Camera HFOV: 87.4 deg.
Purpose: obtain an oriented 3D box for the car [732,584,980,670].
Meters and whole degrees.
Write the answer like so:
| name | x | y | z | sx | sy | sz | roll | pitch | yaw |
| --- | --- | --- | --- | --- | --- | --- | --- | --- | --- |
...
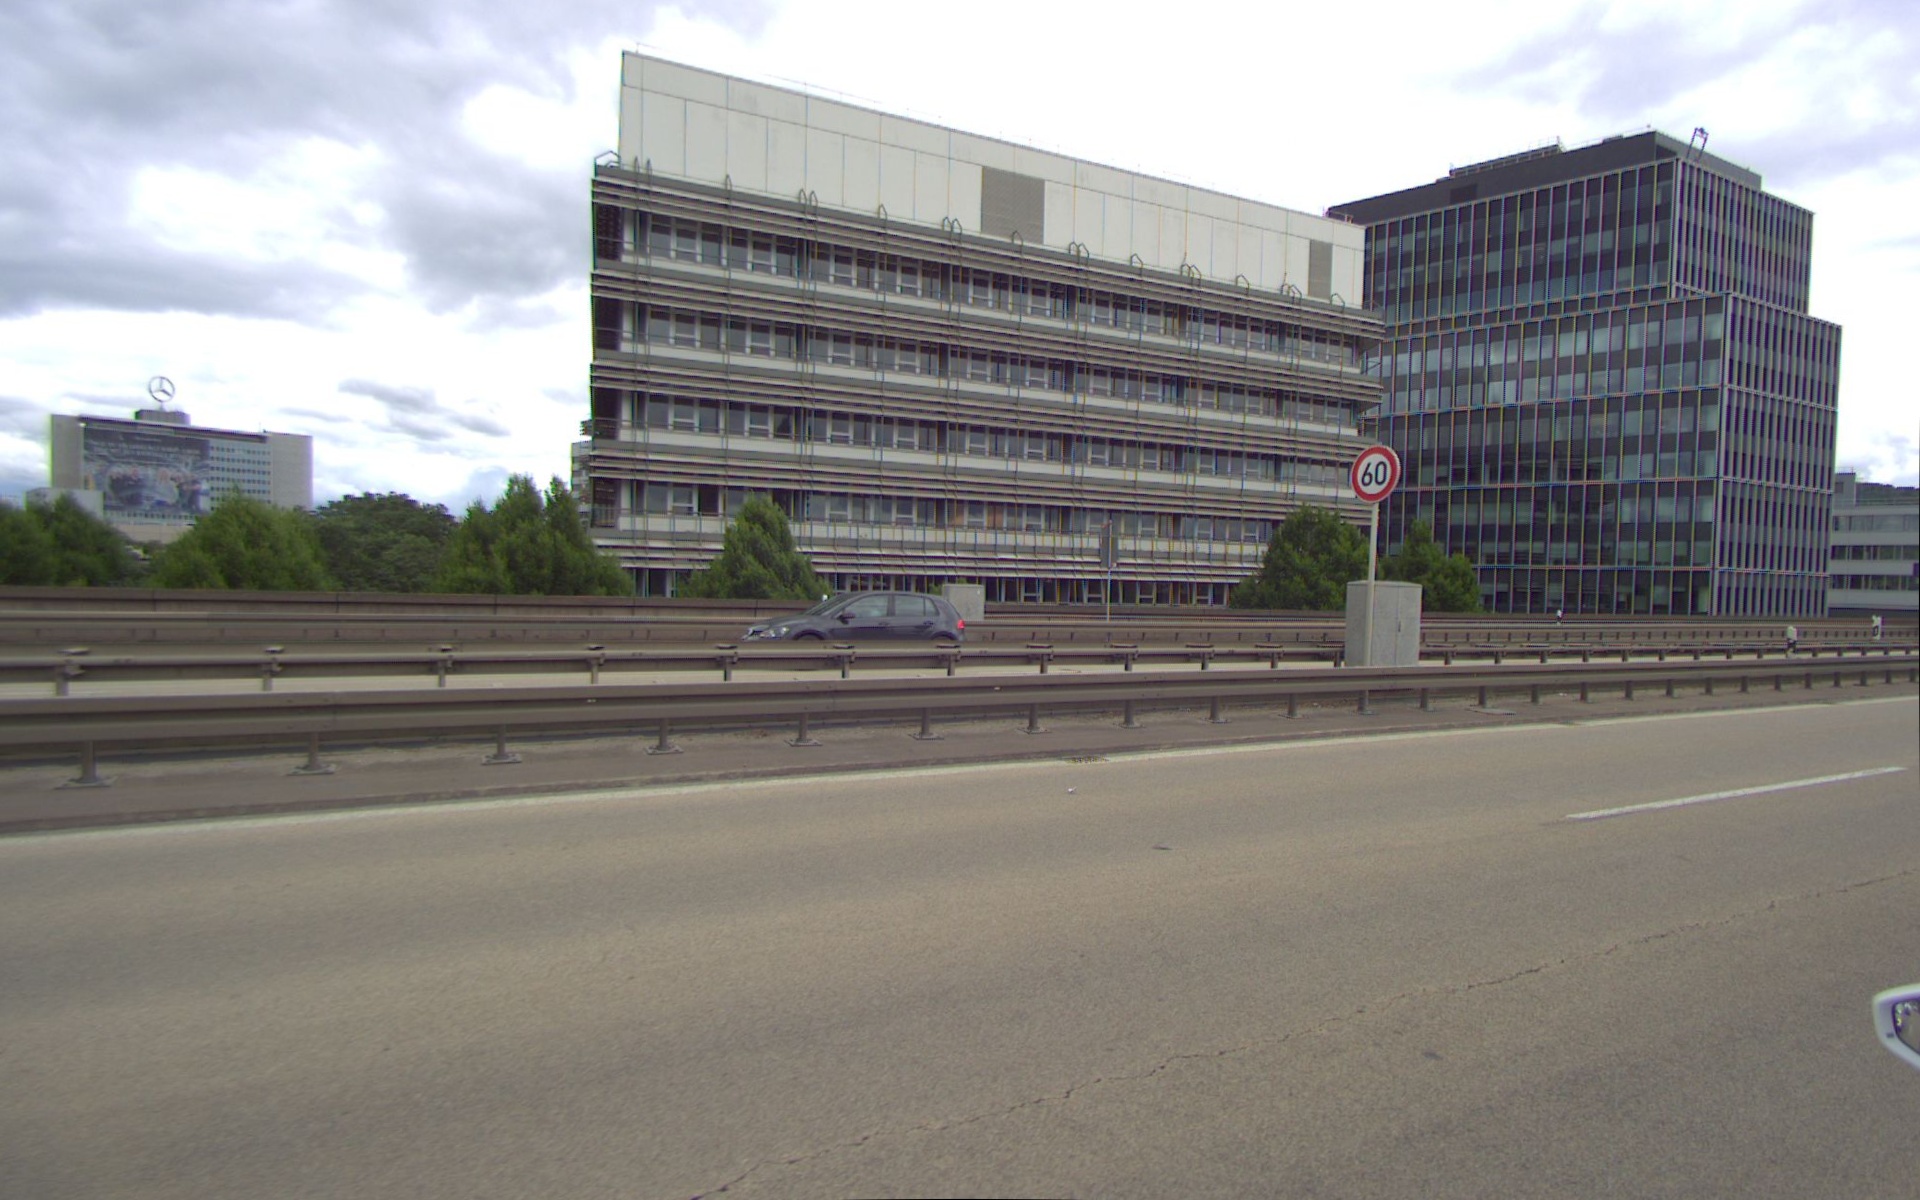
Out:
| name | x | y | z | sx | sy | sz | roll | pitch | yaw |
| --- | --- | --- | --- | --- | --- | --- | --- | --- | --- |
| car | -1.897 | 0.493 | 18.512 | 4.178 | 1.395 | 1.779 | 2 | 1 | -29 |
